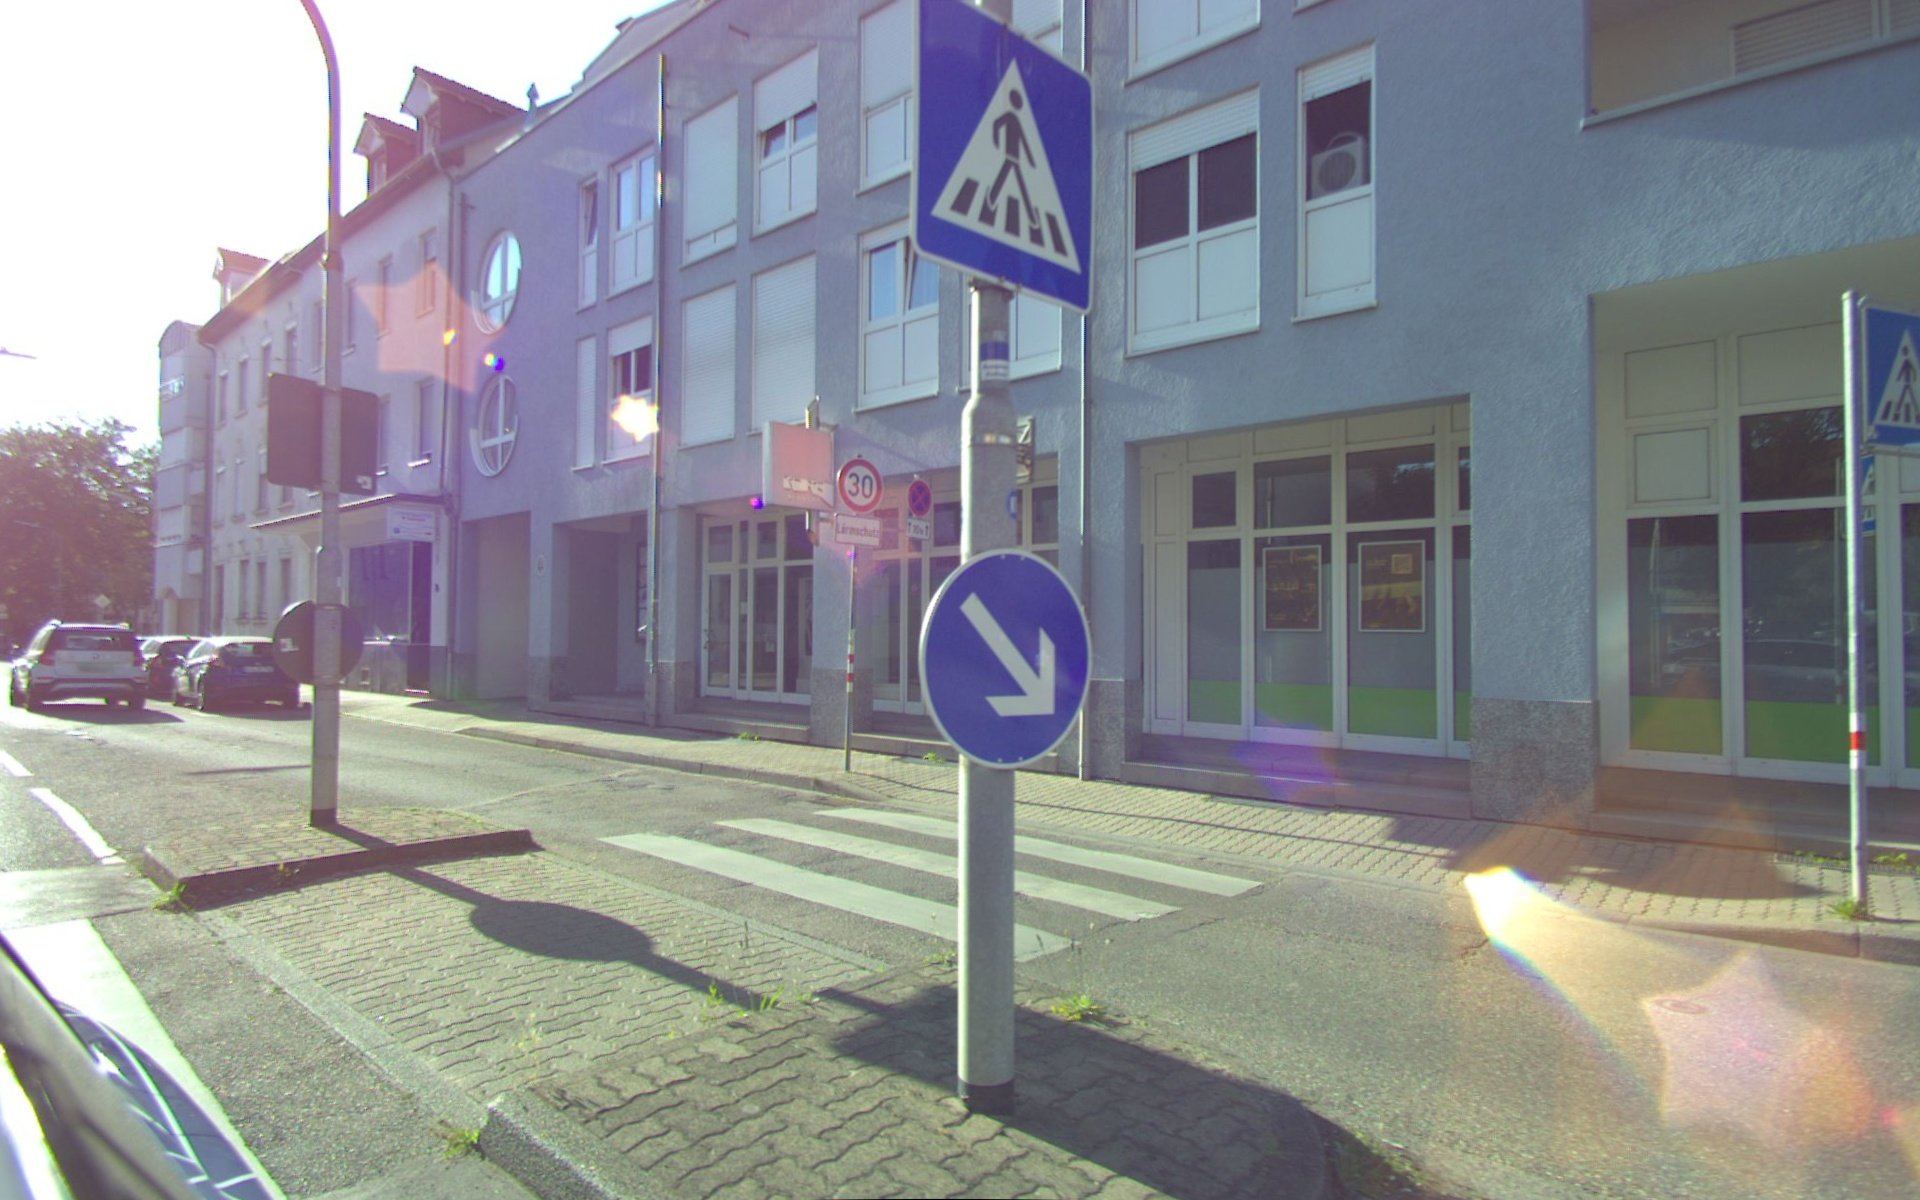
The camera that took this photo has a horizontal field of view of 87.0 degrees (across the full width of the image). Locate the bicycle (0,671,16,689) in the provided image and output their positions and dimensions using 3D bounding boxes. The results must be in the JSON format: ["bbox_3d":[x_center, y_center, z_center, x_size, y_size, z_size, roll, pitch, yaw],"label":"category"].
[{"bbox_3d":[-57.199,4.816,60.771,1.942,1.010,0.695,-3,-3,45],"label":"bicycle"}]

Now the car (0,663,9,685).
[{"bbox_3d":[-67.558,5.134,70.268,3.996,1.503,1.679,-3,-4,40],"label":"car"}]

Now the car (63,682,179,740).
[{"bbox_3d":[-23.726,3.081,28.571,4.123,1.507,1.746,-3,-6,40],"label":"car"}]

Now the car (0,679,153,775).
[{"bbox_3d":[-17.907,2.456,20.350,4.189,1.715,1.788,-3,-6,40],"label":"car"}]

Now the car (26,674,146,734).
[{"bbox_3d":[-27.705,3.213,32.025,5.216,1.660,1.974,-3,-3,39],"label":"car"}]

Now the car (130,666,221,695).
[{"bbox_3d":[-44.015,4.512,56.818,1.999,1.542,3.727,-4,-5,42],"label":"car"}]

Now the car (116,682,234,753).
[{"bbox_3d":[-19.536,2.851,25.148,3.807,1.538,1.642,-4,-4,42],"label":"car"}]

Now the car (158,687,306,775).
[{"bbox_3d":[-15.278,2.647,21.164,3.958,1.511,1.712,-3,-4,42],"label":"car"}]
